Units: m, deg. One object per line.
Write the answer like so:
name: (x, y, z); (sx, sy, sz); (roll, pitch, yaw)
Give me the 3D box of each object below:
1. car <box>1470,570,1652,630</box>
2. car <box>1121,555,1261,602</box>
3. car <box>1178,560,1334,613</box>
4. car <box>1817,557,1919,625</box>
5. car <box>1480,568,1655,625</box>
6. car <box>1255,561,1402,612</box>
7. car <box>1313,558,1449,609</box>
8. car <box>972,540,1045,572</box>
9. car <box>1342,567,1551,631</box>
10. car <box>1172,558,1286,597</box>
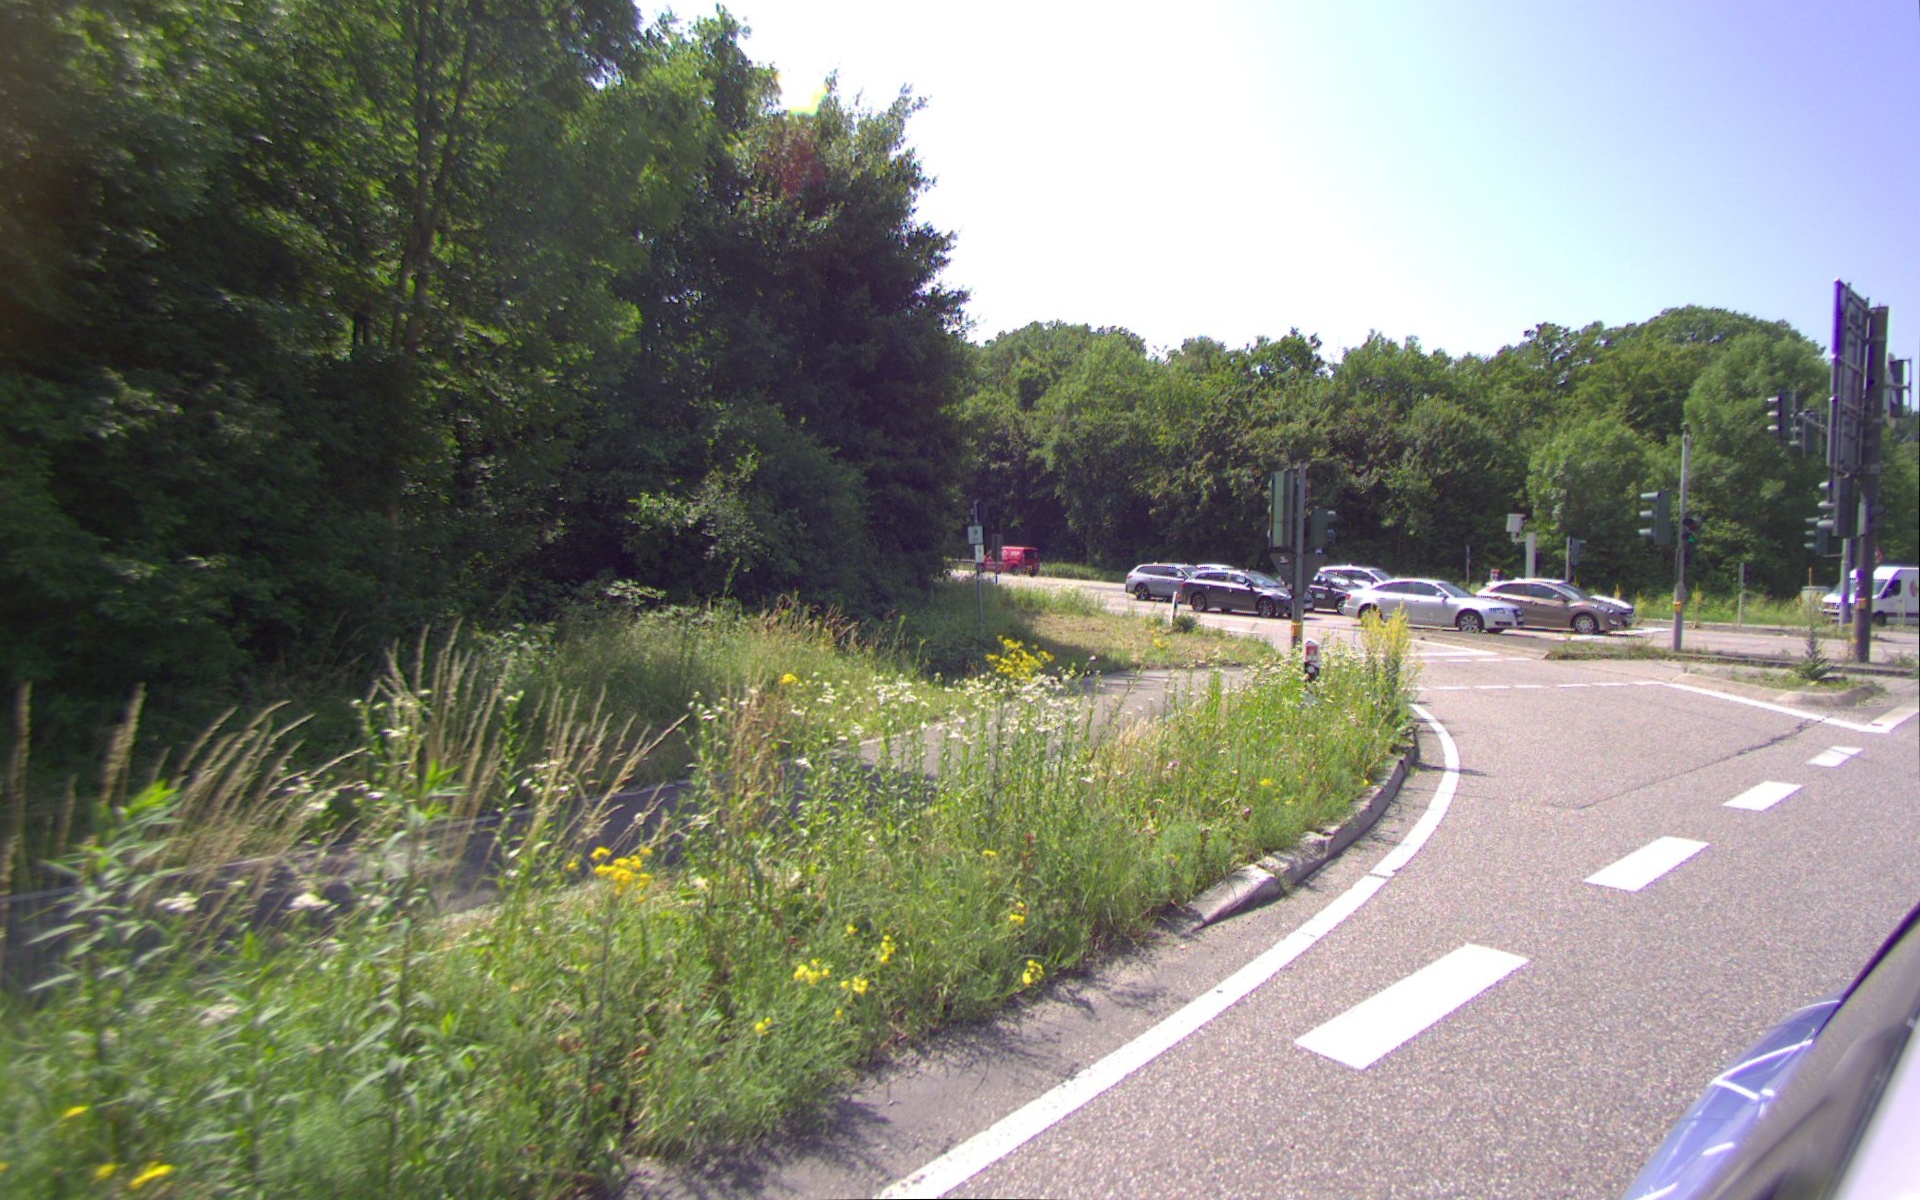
car: (17.411, -0.039, 29.450); (1.961, 1.464, 4.100); (0, 3, -41)
car: (8.960, -0.898, 39.625); (2.100, 1.552, 5.143); (-1, 4, -39)
car: (9.818, -0.502, 33.870); (2.074, 1.516, 4.629); (-1, 4, -39)
car: (38.806, -0.340, 41.871); (5.932, 2.678, 1.980); (1, 1, -14)
car: (19.595, -0.154, 32.769); (1.965, 1.554, 4.429); (0, 3, -41)
car: (12.956, -0.540, 35.779); (2.085, 1.554, 4.431); (-1, 4, -39)
car: (15.497, -0.634, 37.425); (1.964, 1.679, 4.183); (0, 3, -39)
car: (3.026, -2.772, 63.904); (4.482, 1.845, 1.769); (2, 1, 43)
car: (13.591, -0.101, 28.574); (1.984, 1.516, 4.946); (-1, 3, -38)
car: (11.316, -0.983, 42.825); (1.938, 1.431, 4.344); (-1, 4, -38)
